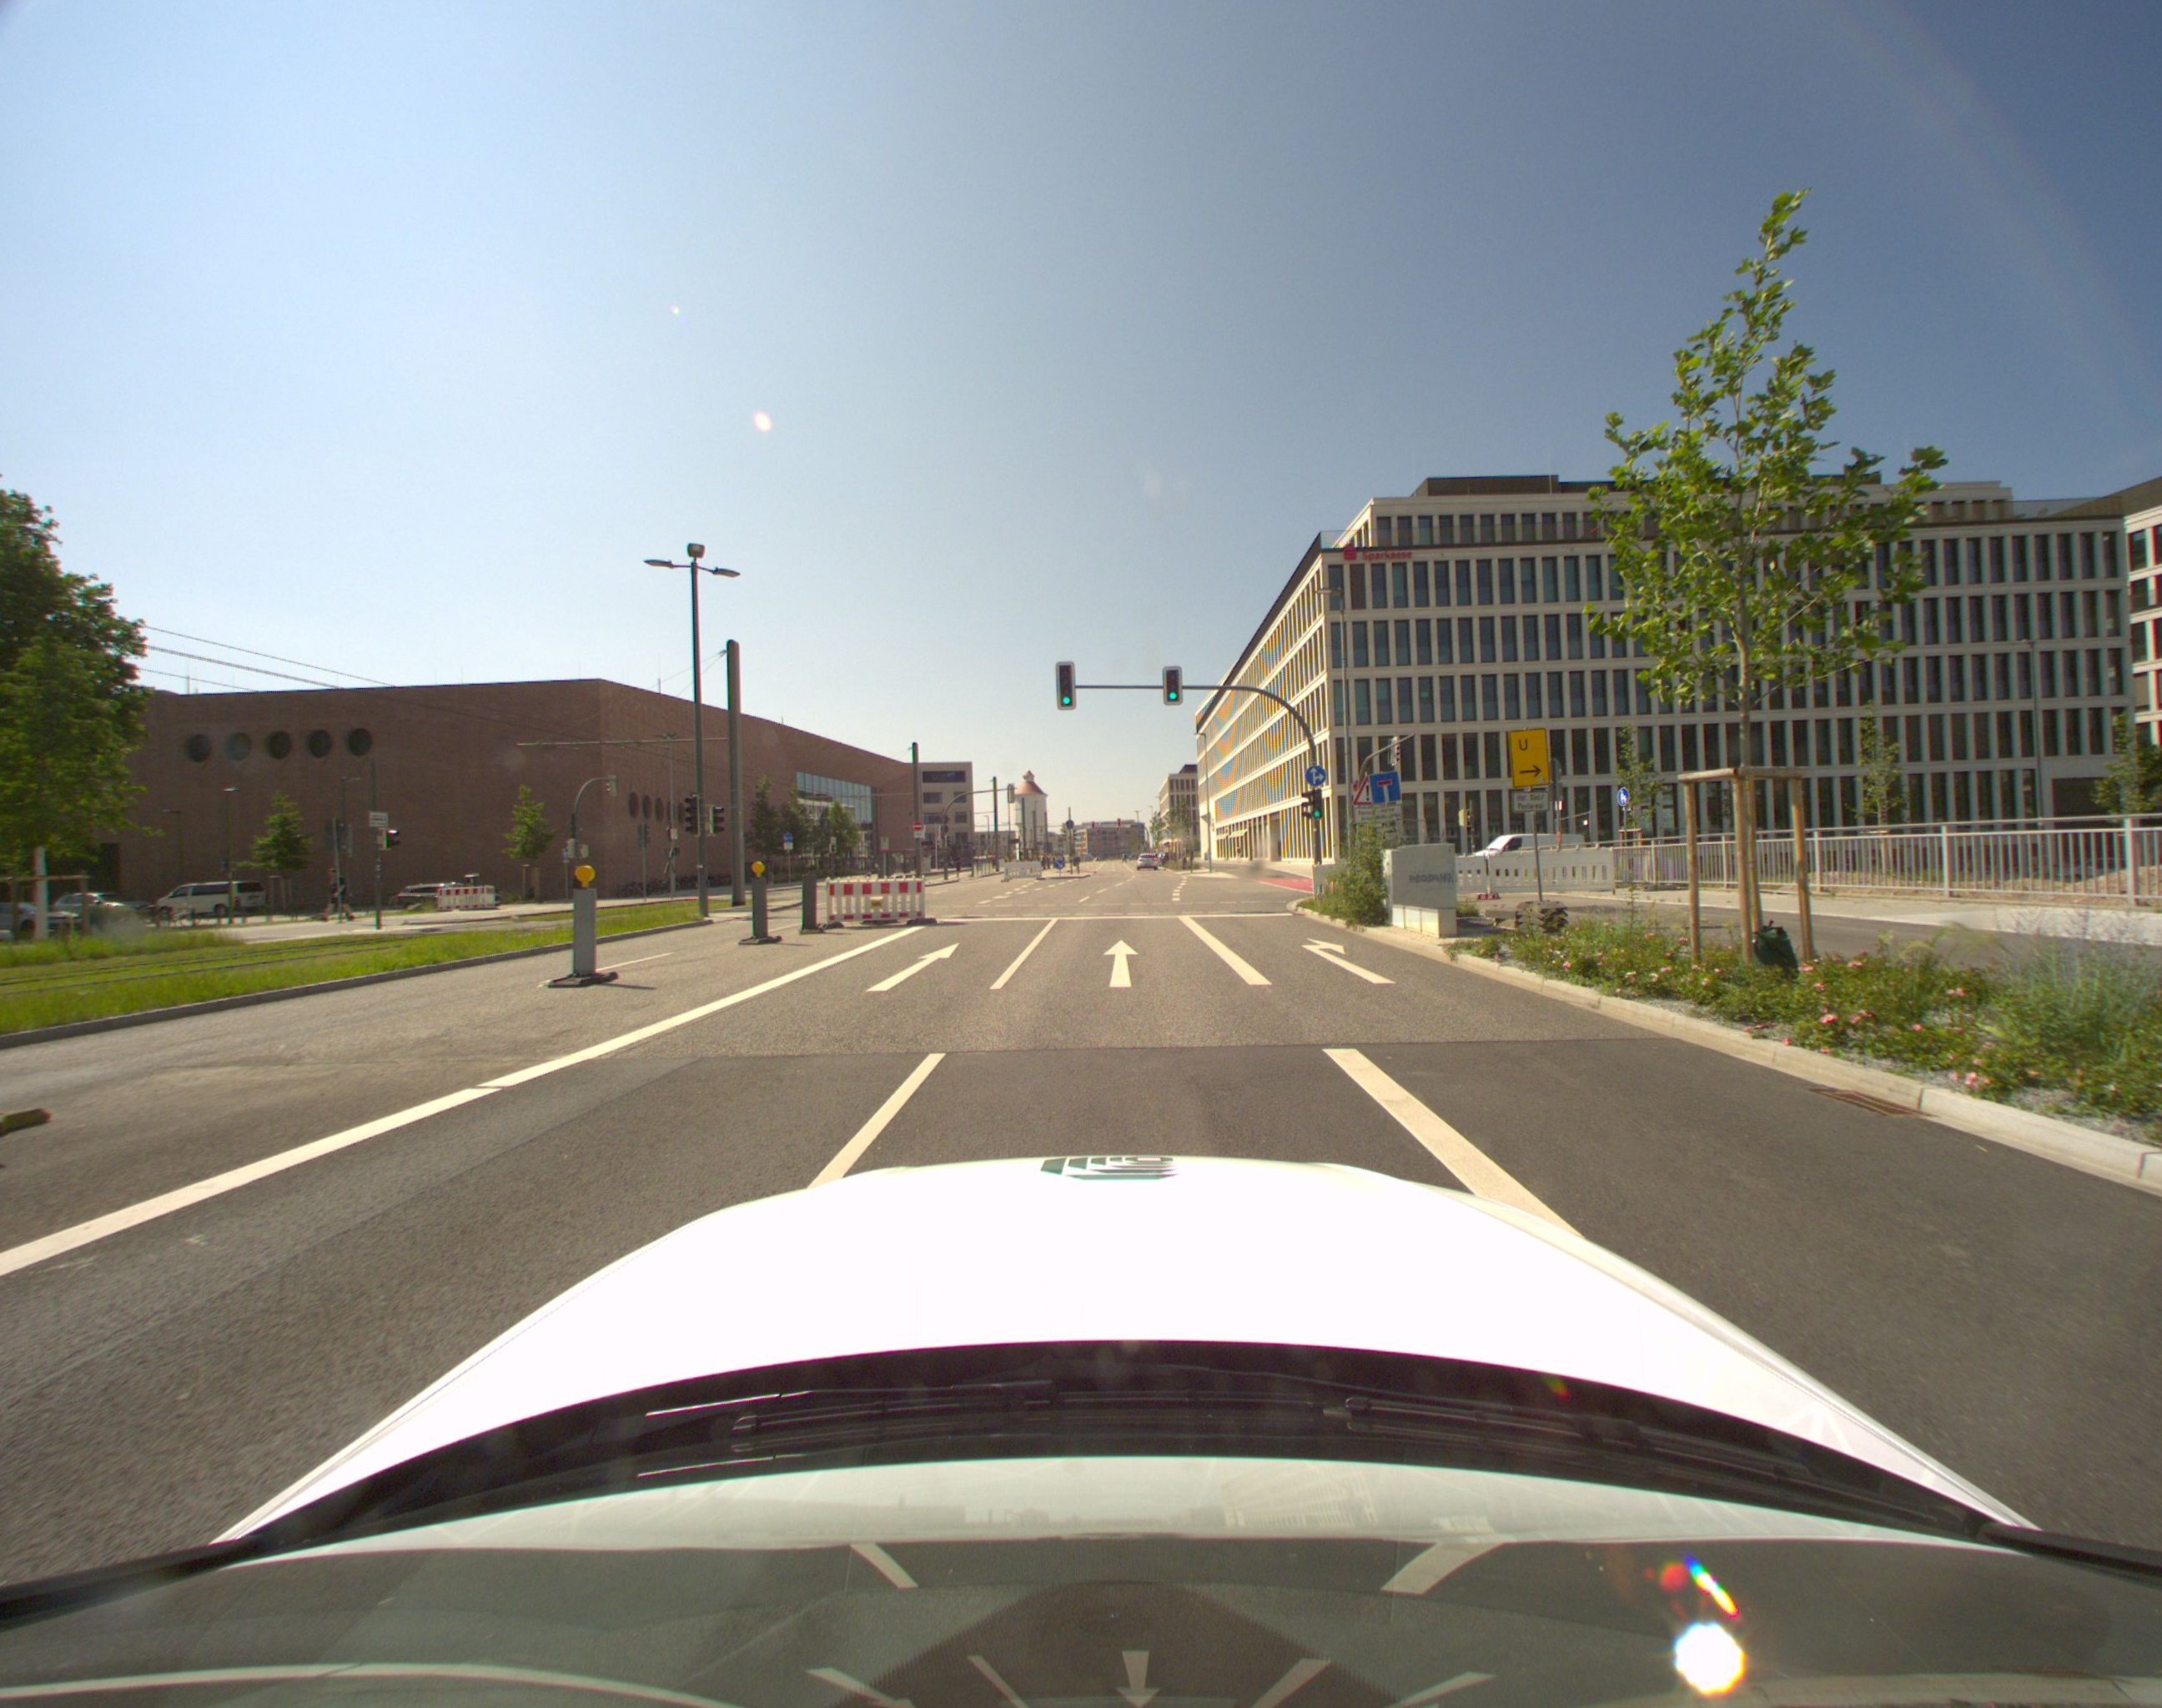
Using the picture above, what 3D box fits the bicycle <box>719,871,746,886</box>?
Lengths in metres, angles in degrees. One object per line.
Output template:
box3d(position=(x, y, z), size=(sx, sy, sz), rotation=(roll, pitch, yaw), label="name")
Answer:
box3d(position=(-30.875, 2.191, 72.175), size=(2.050, 1.212, 0.538), rotation=(-2, 0, -9), label="bicycle")

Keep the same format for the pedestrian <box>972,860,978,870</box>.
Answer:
box3d(position=(-16.642, 1.680, 128.063), size=(0.708, 1.571, 0.891), rotation=(-2, 0, 1), label="pedestrian")

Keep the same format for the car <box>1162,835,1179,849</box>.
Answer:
box3d(position=(9.797, -1.306, 89.237), size=(1.598, 1.388, 3.817), rotation=(0, 0, 3), label="car")

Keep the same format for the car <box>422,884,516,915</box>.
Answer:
box3d(position=(-30.608, 2.251, 40.791), size=(3.466, 1.370, 1.574), rotation=(-1, 0, 1), label="car")

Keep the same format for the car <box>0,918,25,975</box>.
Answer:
box3d(position=(-34.769, 2.911, 23.942), size=(1.691, 1.761, 4.303), rotation=(-1, -1, 3), label="car")

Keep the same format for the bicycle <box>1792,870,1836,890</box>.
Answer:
box3d(position=(39.485, 1.392, 43.878), size=(0.704, 0.992, 1.990), rotation=(-2, 0, 6), label="bicycle")

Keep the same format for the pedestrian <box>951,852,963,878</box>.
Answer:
box3d(position=(-8.868, 0.773, 58.162), size=(0.649, 1.833, 0.662), rotation=(-1, 0, 6), label="pedestrian")

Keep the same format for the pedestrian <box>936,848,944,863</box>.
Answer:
box3d(position=(-17.670, 0.193, 102.378), size=(0.807, 1.820, 0.826), rotation=(-1, 0, 2), label="pedestrian")

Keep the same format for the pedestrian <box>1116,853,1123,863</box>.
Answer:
box3d(position=(6.207, 0.661, 131.579), size=(0.895, 1.674, 1.008), rotation=(-2, 0, -16), label="pedestrian")

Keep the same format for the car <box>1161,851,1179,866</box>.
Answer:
box3d(position=(9.174, 0.422, 83.913), size=(1.727, 1.474, 3.988), rotation=(-2, -1, 7), label="car")

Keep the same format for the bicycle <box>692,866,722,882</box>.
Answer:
box3d(position=(-30.411, 1.650, 66.221), size=(2.050, 1.212, 0.538), rotation=(-2, 0, -9), label="bicycle")

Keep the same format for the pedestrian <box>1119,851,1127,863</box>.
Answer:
box3d(position=(6.908, 0.466, 132.946), size=(1.022, 2.013, 0.949), rotation=(-2, 0, -16), label="pedestrian")

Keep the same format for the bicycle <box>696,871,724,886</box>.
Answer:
box3d(position=(-30.758, 2.014, 67.528), size=(1.880, 1.212, 0.745), rotation=(-2, 0, -5), label="bicycle")

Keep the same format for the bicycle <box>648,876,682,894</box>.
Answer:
box3d(position=(-29.755, 2.190, 58.301), size=(2.050, 1.212, 0.538), rotation=(-2, 0, -9), label="bicycle")

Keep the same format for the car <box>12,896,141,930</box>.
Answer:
box3d(position=(-47.487, 2.786, 38.551), size=(3.965, 1.403, 2.004), rotation=(-2, -1, 7), label="car")

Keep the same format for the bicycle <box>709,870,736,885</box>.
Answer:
box3d(position=(-31.080, 2.021, 70.554), size=(2.050, 1.212, 0.538), rotation=(-2, 0, -9), label="bicycle")

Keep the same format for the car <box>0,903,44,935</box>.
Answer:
box3d(position=(-52.291, 3.127, 38.655), size=(3.965, 1.403, 2.004), rotation=(-2, -1, 7), label="car")

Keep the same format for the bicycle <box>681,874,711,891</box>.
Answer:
box3d(position=(-30.280, 2.231, 64.080), size=(2.050, 1.212, 0.538), rotation=(-2, 0, -9), label="bicycle")

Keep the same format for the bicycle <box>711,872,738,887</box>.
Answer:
box3d(position=(-31.159, 2.196, 71.137), size=(2.050, 1.212, 0.538), rotation=(-2, 0, -9), label="bicycle")

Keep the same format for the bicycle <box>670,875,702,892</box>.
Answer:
box3d(position=(-29.967, 2.239, 61.756), size=(2.050, 1.212, 0.538), rotation=(-2, 0, -9), label="bicycle")

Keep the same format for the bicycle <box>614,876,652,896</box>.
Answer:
box3d(position=(-28.745, 2.066, 52.252), size=(2.050, 1.212, 0.538), rotation=(-2, 0, -9), label="bicycle")

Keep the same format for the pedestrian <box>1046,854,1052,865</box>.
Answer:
box3d(position=(-5.107, 0.867, 129.681), size=(0.763, 1.734, 0.692), rotation=(-2, 0, 3), label="pedestrian")

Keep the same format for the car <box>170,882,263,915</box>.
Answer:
box3d(position=(-49.427, 2.521, 46.585), size=(3.529, 1.690, 1.695), rotation=(-1, 0, 2), label="car")

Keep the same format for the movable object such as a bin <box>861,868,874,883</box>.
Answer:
box3d(position=(-15.334, 1.534, 58.502), size=(0.718, 1.032, 0.785), rotation=(-1, 0, -35), label="movable object such as a bin")

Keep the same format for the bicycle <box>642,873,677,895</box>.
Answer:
box3d(position=(-29.090, 2.069, 56.171), size=(2.050, 1.453, 0.538), rotation=(-2, 0, -9), label="bicycle")

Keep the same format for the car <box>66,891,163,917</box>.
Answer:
box3d(position=(-55.274, 2.865, 46.609), size=(3.485, 1.321, 1.712), rotation=(-1, -1, 0), label="car")

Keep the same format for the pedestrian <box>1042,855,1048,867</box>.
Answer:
box3d(position=(-5.627, 1.045, 126.645), size=(0.763, 1.890, 0.692), rotation=(-2, 0, 3), label="pedestrian")

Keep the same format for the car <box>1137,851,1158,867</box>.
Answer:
box3d(position=(5.852, 0.469, 71.439), size=(1.763, 1.395, 3.535), rotation=(-1, -1, 4), label="car")

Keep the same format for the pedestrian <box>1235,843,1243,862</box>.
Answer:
box3d(position=(14.826, -0.174, 76.439), size=(0.625, 1.742, 0.814), rotation=(-2, 0, 2), label="pedestrian")

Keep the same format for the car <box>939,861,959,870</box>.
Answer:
box3d(position=(-27.138, 2.391, 167.233), size=(3.941, 1.816, 1.792), rotation=(-1, -1, -10), label="car")

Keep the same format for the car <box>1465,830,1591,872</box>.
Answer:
box3d(position=(24.795, -0.151, 45.308), size=(5.814, 2.270, 2.148), rotation=(0, 0, 2), label="car")

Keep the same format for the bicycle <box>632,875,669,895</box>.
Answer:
box3d(position=(-28.762, 2.075, 54.447), size=(2.051, 1.212, 0.537), rotation=(-2, 0, -11), label="bicycle")

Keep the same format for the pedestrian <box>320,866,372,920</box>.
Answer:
box3d(position=(-26.229, 1.389, 29.077), size=(0.808, 1.847, 1.108), rotation=(-2, 0, 4), label="pedestrian")

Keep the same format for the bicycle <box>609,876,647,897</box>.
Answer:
box3d(position=(-28.618, 2.046, 51.448), size=(2.050, 1.212, 0.538), rotation=(-1, 0, -9), label="bicycle")

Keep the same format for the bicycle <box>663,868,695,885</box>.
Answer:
box3d(position=(-29.875, 1.655, 60.556), size=(2.050, 1.212, 0.538), rotation=(-1, 0, -9), label="bicycle")

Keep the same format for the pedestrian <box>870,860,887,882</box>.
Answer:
box3d(position=(-14.663, 1.251, 58.991), size=(0.936, 1.562, 0.785), rotation=(-2, 0, -36), label="pedestrian")

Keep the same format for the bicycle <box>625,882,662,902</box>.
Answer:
box3d(position=(-28.643, 2.494, 53.314), size=(2.050, 1.212, 0.538), rotation=(-2, 0, -9), label="bicycle")
